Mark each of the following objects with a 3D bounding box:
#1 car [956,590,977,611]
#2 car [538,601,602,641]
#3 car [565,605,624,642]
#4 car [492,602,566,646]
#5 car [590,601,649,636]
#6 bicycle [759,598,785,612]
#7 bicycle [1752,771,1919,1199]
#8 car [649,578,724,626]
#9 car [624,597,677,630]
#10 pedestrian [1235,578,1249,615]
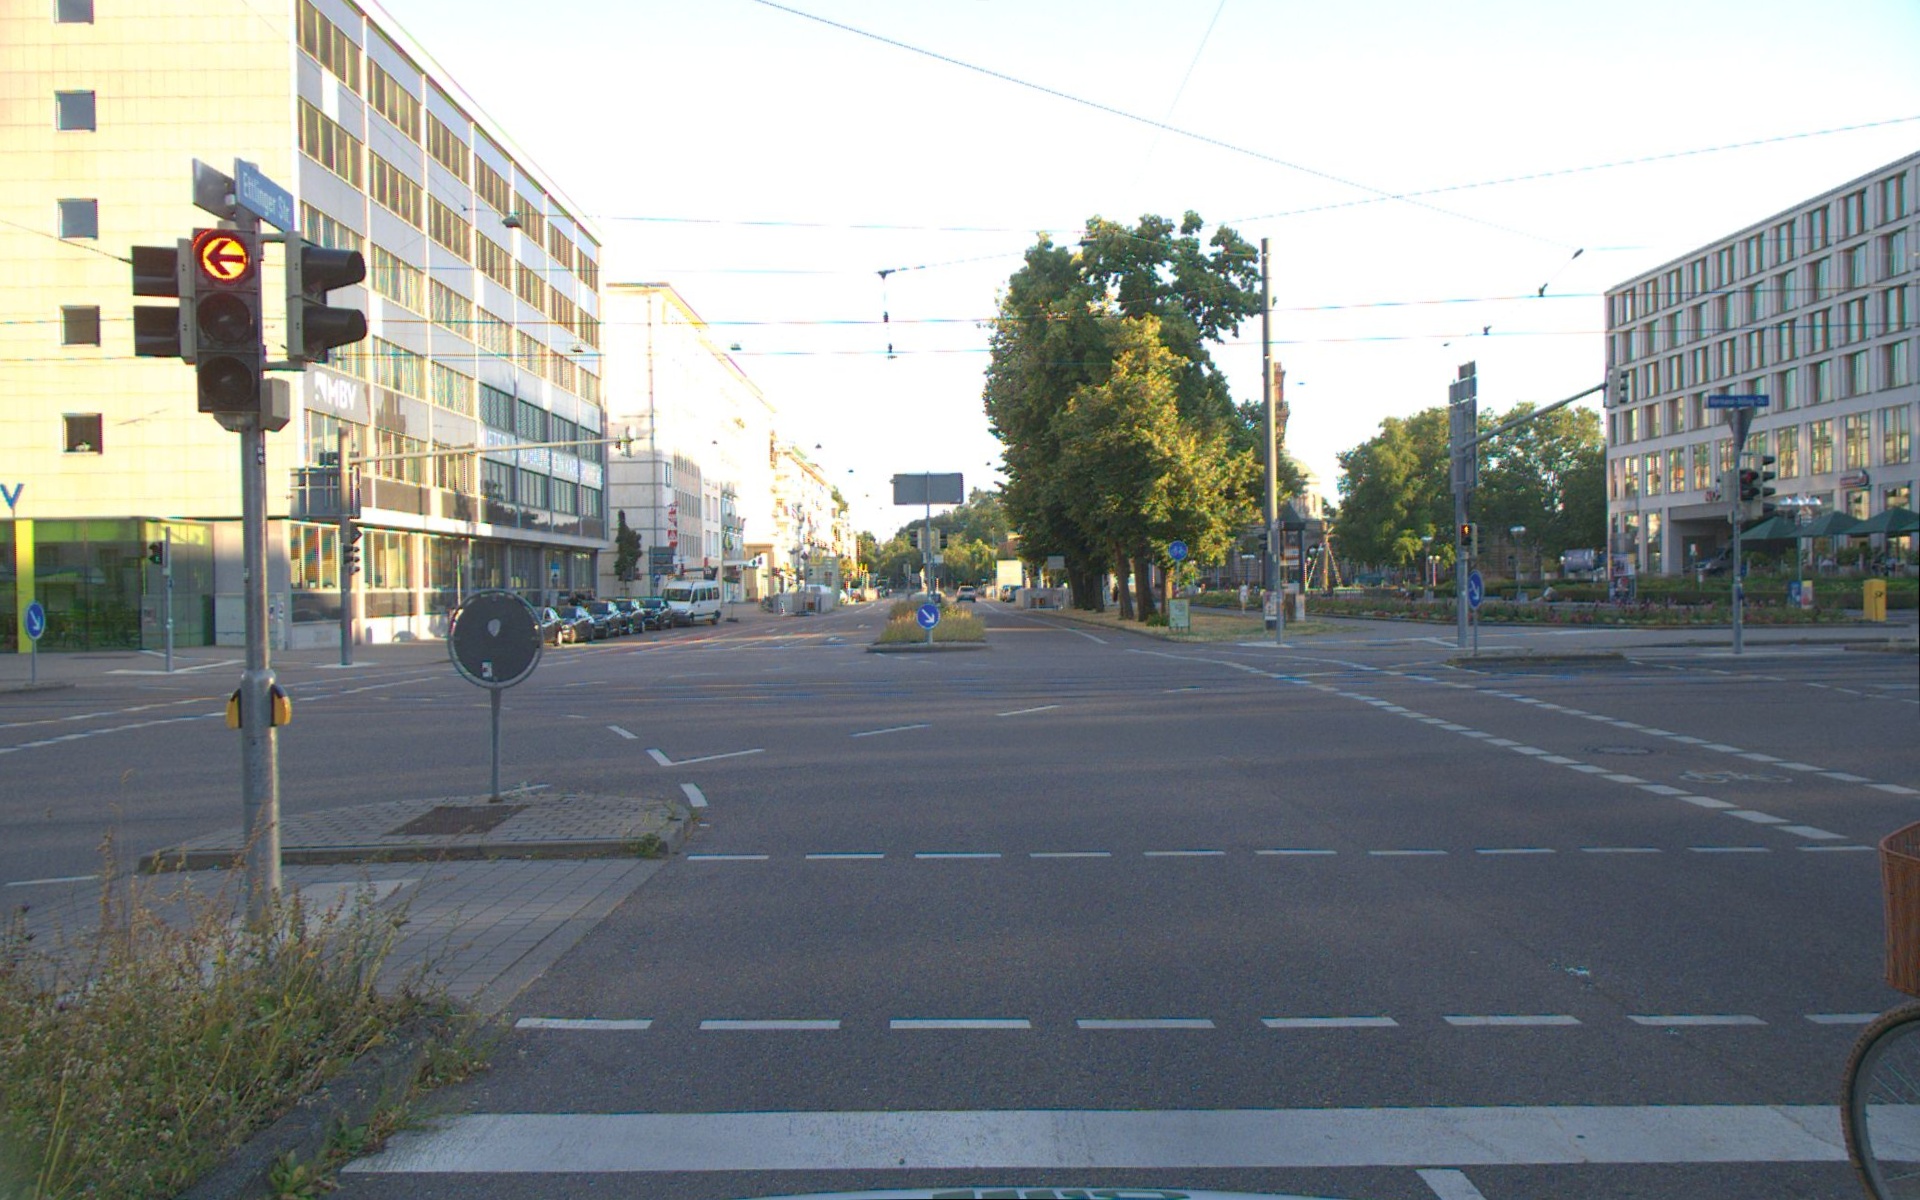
[{"bbox_3d":[0.619,0.045,162.645,1.953,2.049,3.999,-1,0,-2],"label":"car"},{"bbox_3d":[-16.027,0.875,68.103,1.760,1.501,3.998,-1,-2,-1],"label":"car"},{"bbox_3d":[-16.095,1.062,73.001,1.760,1.501,3.998,-1,-2,-1],"label":"car"},{"bbox_3d":[-16.014,0.925,61.658,1.760,1.501,3.998,-1,-2,-1],"label":"car"},{"bbox_3d":[-16.046,0.891,78.214,1.758,1.501,4.001,-1,-2,3],"label":"car"},{"bbox_3d":[-14.627,0.387,128.532,1.959,1.111,0.324,-1,0,-10],"label":"bicycle"},{"bbox_3d":[2.135,0.943,2.750,0.624,1.087,2.069,0,0,-1],"label":"bicycle"},{"bbox_3d":[-15.009,0.146,91.227,2.130,2.427,5.994,-2,-2,11],"label":"car"},{"bbox_3d":[-15.801,0.711,84.619,1.759,1.501,4.001,-1,-2,3],"label":"car"},{"bbox_3d":[12.896,-0.169,75.740,0.498,1.697,0.531,-1,0,-2],"label":"pedestrian"}]
